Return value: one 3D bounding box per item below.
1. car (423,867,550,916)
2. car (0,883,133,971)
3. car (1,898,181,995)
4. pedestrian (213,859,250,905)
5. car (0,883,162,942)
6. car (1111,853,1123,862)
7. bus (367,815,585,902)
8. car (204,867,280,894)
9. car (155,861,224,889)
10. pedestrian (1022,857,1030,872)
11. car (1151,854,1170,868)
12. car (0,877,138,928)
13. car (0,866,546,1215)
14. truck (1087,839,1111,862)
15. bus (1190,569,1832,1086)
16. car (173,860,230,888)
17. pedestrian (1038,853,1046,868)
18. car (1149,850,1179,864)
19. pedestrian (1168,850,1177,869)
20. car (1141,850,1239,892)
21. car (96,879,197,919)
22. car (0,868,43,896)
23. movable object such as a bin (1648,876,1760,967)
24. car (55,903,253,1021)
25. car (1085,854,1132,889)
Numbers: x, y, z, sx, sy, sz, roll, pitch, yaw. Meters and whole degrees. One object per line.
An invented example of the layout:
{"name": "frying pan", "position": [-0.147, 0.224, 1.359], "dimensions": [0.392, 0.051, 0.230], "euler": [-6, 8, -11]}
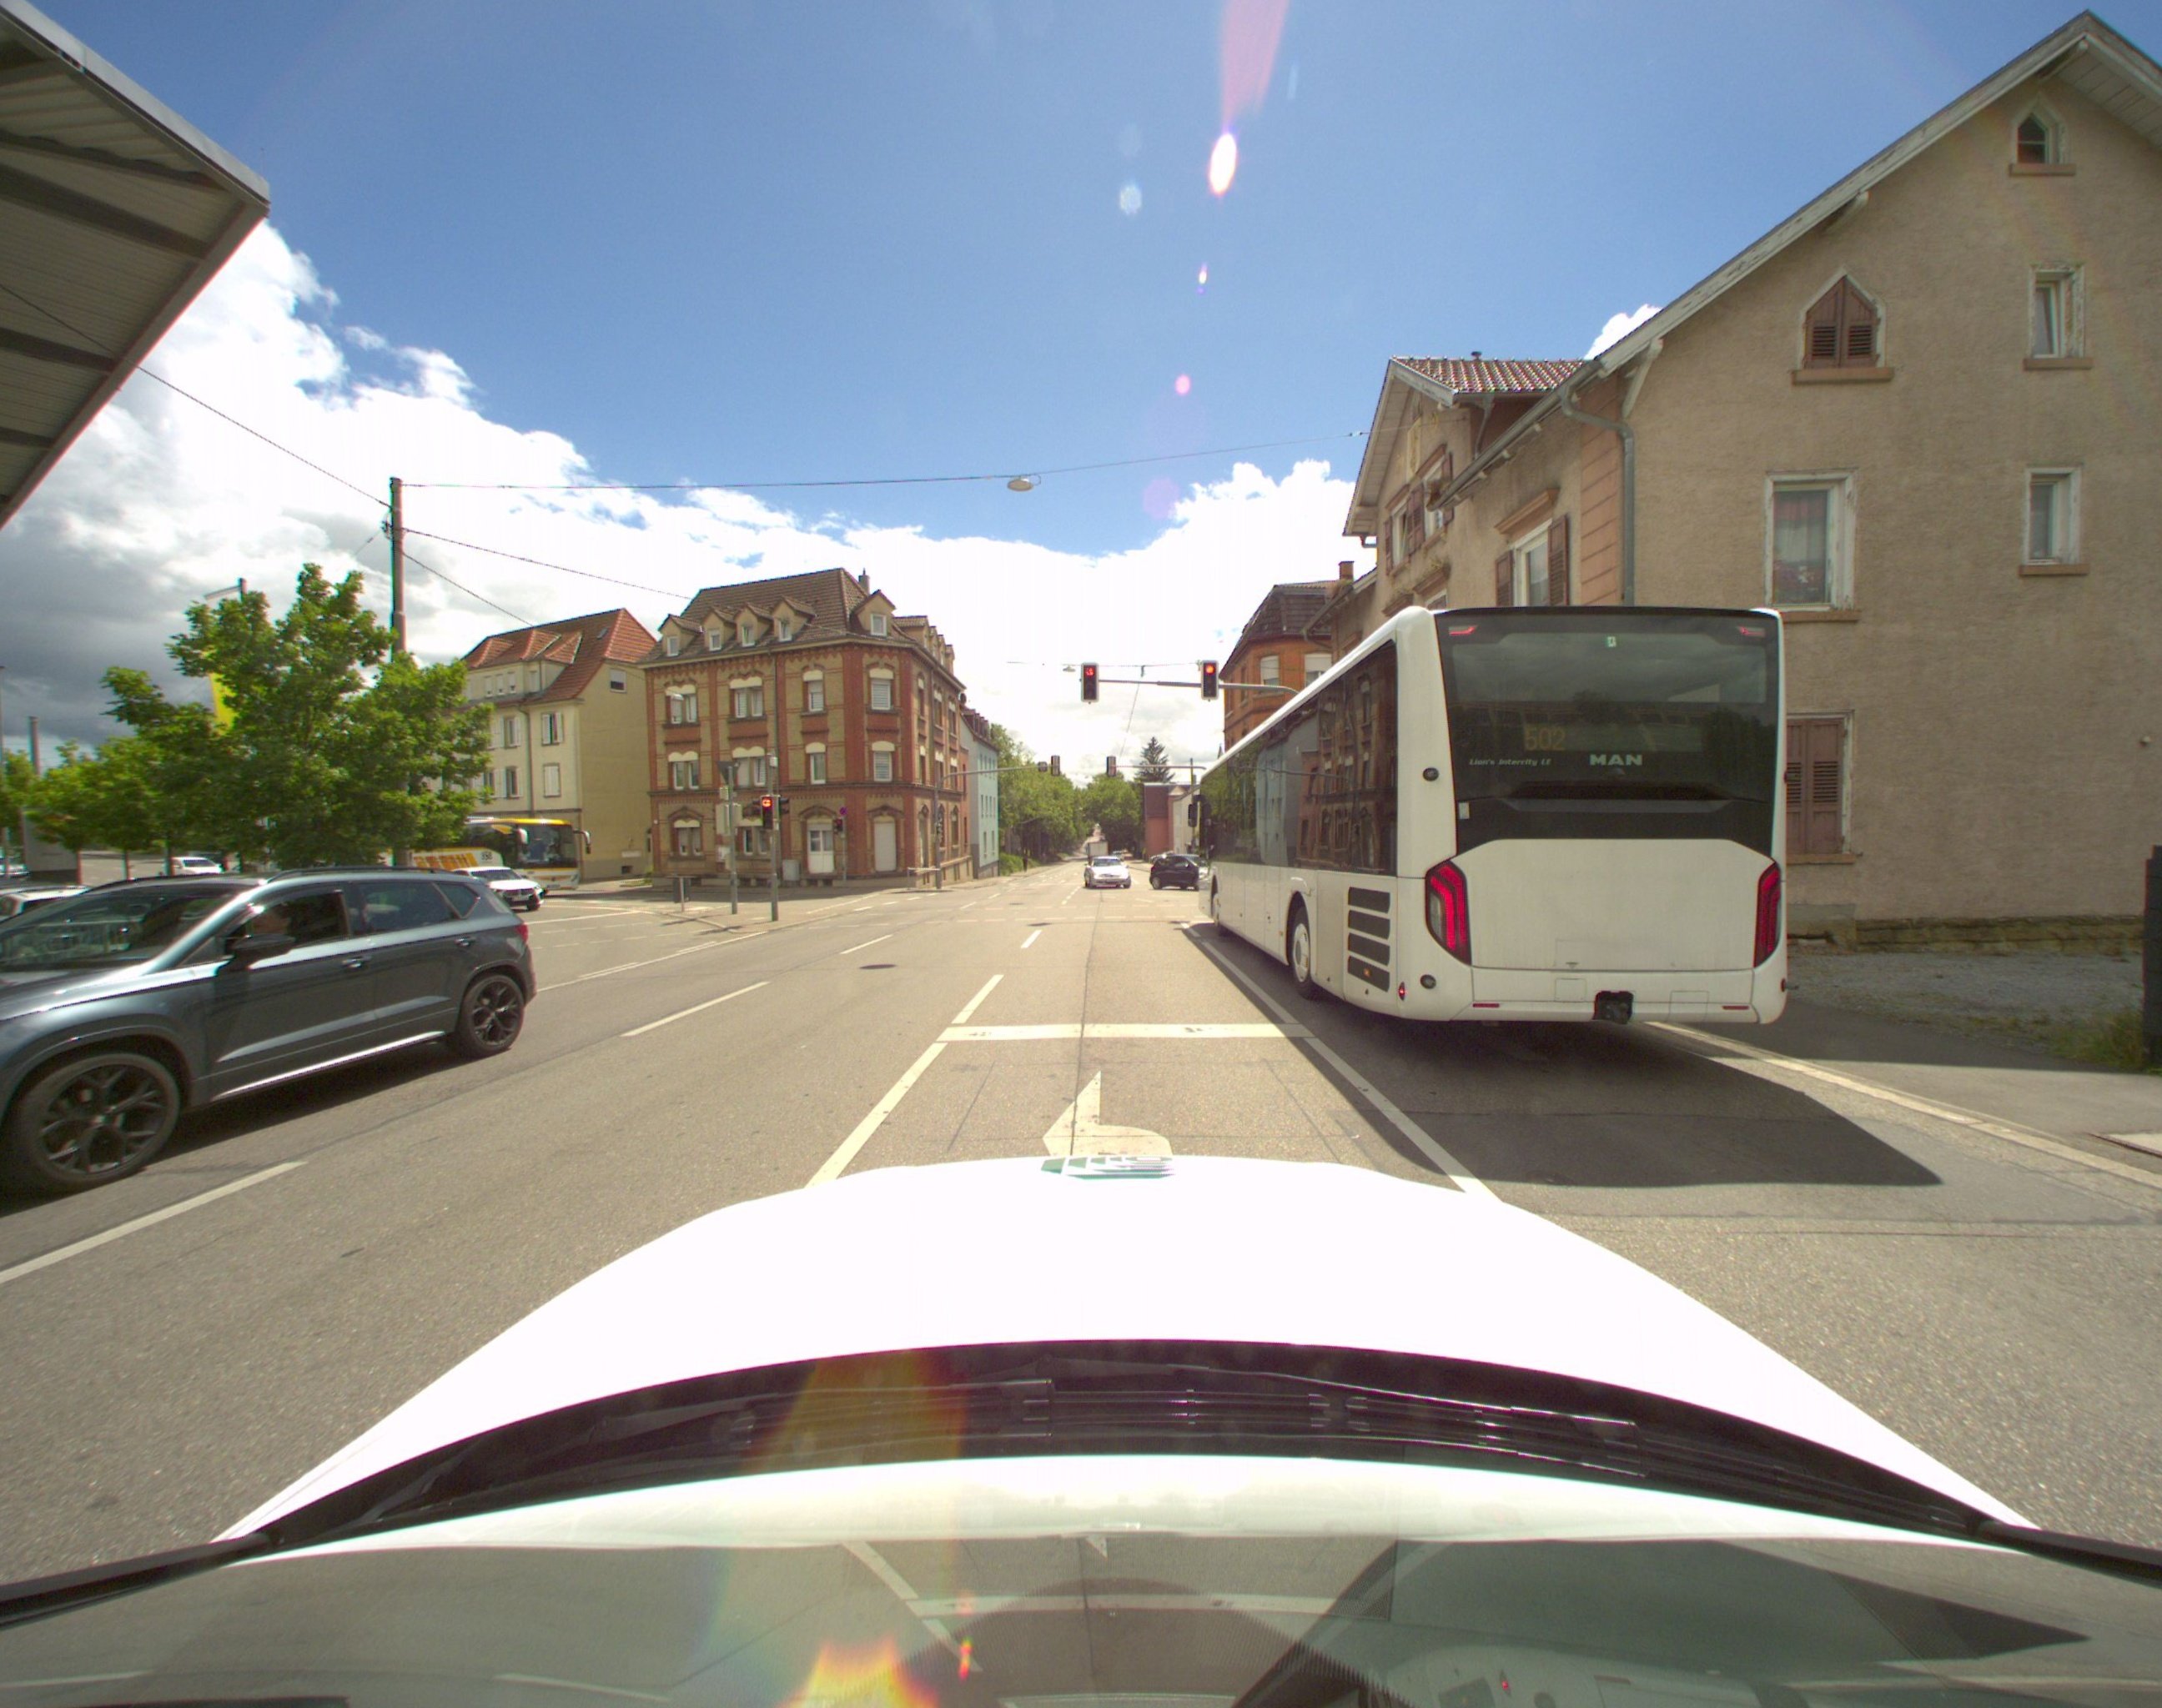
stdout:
{"name": "car", "position": [-20.884, 1.308, 28.580], "dimensions": [4.252, 1.552, 1.845], "euler": [-2, 0, 27]}
{"name": "car", "position": [-23.324, 1.567, 18.480], "dimensions": [3.455, 1.680, 1.663], "euler": [-1, 2, 29]}
{"name": "car", "position": [-19.613, 1.738, 16.125], "dimensions": [3.455, 1.526, 1.626], "euler": [-1, 2, 29]}
{"name": "pedestrian", "position": [-32.368, 1.058, 31.032], "dimensions": [1.129, 1.734, 0.764], "euler": [-2, 0, 34]}
{"name": "car", "position": [-29.720, 1.675, 23.815], "dimensions": [1.777, 1.477, 3.522], "euler": [-2, 0, 32]}
{"name": "car", "position": [5.810, 0.601, 131.207], "dimensions": [1.787, 1.409, 4.002], "euler": [-1, 0, 2]}
{"name": "bus", "position": [-28.030, 0.127, 37.483], "dimensions": [12.111, 3.621, 2.788], "euler": [0, 1, 26]}
{"name": "car", "position": [-46.496, 1.461, 45.145], "dimensions": [3.949, 1.409, 1.923], "euler": [-2, 0, 29]}
{"name": "car", "position": [-53.673, 1.253, 49.032], "dimensions": [3.949, 1.553, 1.923], "euler": [-2, 0, 29]}
{"name": "pedestrian", "position": [-5.726, 1.083, 84.669], "dimensions": [0.727, 1.565, 0.561], "euler": [-1, 0, 0]}
{"name": "car", "position": [9.230, 0.791, 95.076], "dimensions": [1.788, 1.409, 4.000], "euler": [-2, 0, 1]}
{"name": "car", "position": [-36.007, 1.662, 28.190], "dimensions": [1.785, 1.553, 4.023], "euler": [-2, 0, 25]}
{"name": "car", "position": [-5.763, 0.905, 5.334], "dimensions": [1.752, 1.522, 3.959], "euler": [-2, 0, 2]}
{"name": "truck", "position": [2.569, -0.536, 118.799], "dimensions": [2.919, 3.081, 7.878], "euler": [-2, 0, -2]}
{"name": "bus", "position": [3.515, -0.187, 11.336], "dimensions": [2.662, 3.155, 12.467], "euler": [-2, 0, 2]}
{"name": "car", "position": [-58.668, 1.362, 54.306], "dimensions": [3.948, 1.750, 1.837], "euler": [-2, 0, 32]}
{"name": "pedestrian", "position": [-5.342, 0.845, 111.536], "dimensions": [0.991, 2.013, 1.189], "euler": [-2, 0, 1]}
{"name": "car", "position": [11.759, 0.407, 115.134], "dimensions": [3.978, 1.757, 1.998], "euler": [-2, 0, -3]}
{"name": "pedestrian", "position": [8.717, 0.505, 77.463], "dimensions": [0.736, 1.750, 0.619], "euler": [-2, 0, 1]}
{"name": "car", "position": [4.358, 0.667, 32.963], "dimensions": [1.772, 1.516, 3.751], "euler": [-2, 1, -37]}
{"name": "car", "position": [-37.527, 1.790, 32.718], "dimensions": [3.456, 1.448, 1.811], "euler": [-2, 0, 26]}
{"name": "car", "position": [-63.613, 1.684, 48.161], "dimensions": [3.951, 1.596, 1.869], "euler": [-2, 0, 25]}
{"name": "movable object such as a bin", "position": [7.543, 0.796, 9.892], "dimensions": [0.773, 1.012, 0.749], "euler": [-2, 0, 2]}
{"name": "car", "position": [-15.963, 1.737, 14.005], "dimensions": [3.321, 1.560, 1.693], "euler": [0, 2, 32]}
{"name": "car", "position": [1.166, 0.745, 36.420], "dimensions": [1.695, 1.427, 3.994], "euler": [-2, 0, -4]}
